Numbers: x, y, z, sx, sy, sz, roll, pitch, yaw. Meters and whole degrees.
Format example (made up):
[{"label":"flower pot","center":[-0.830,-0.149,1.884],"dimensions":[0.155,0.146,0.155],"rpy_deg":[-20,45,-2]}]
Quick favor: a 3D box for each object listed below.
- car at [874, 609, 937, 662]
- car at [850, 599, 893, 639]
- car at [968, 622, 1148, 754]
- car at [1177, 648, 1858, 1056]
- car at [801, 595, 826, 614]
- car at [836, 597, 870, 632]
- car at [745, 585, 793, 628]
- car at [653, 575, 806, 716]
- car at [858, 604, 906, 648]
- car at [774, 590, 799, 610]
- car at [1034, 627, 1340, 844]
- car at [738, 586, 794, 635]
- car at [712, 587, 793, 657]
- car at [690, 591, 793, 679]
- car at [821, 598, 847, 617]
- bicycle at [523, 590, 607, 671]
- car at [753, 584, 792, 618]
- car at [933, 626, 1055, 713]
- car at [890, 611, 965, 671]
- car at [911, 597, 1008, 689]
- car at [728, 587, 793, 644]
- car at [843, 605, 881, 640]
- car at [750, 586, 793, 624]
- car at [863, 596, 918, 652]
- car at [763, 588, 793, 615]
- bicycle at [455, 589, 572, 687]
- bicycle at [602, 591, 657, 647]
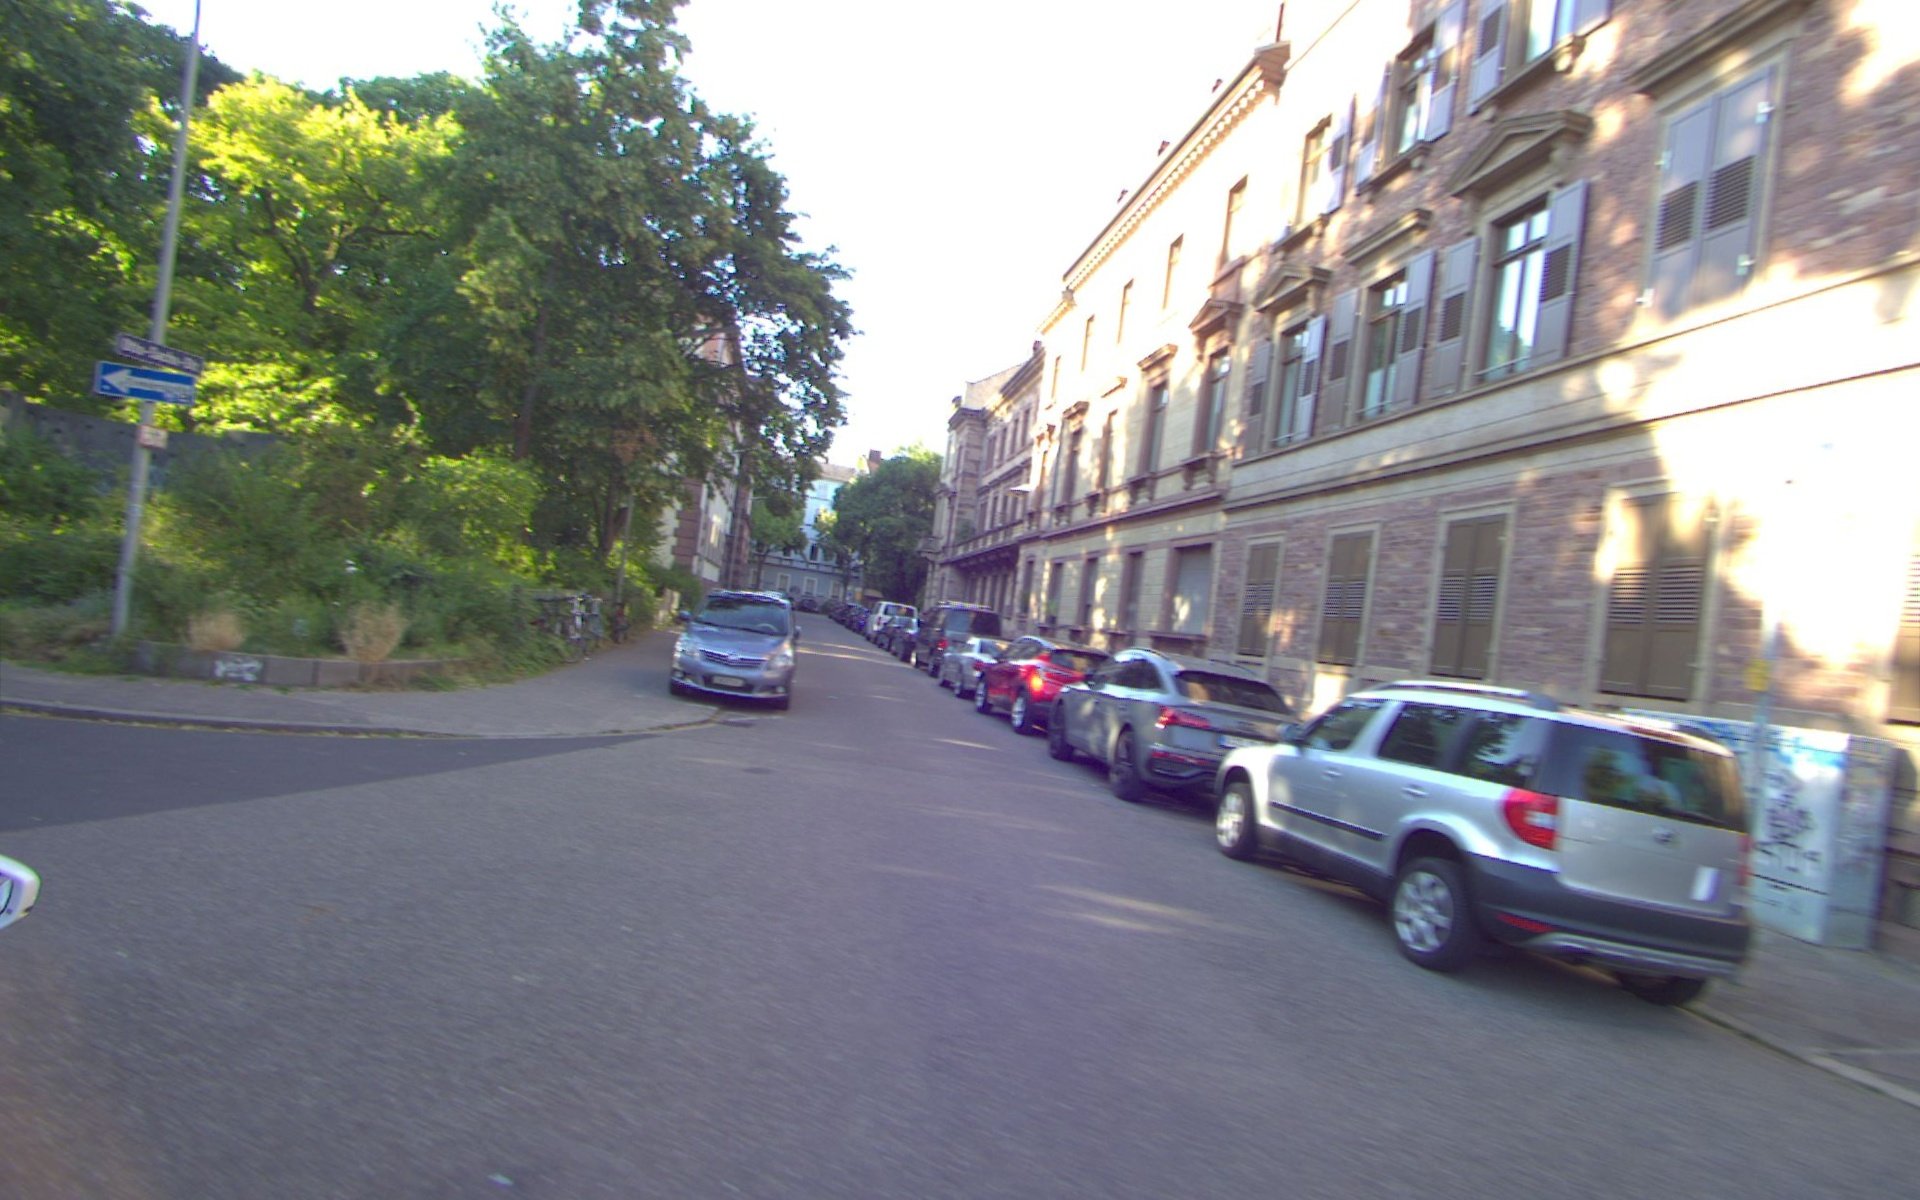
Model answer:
[{"label":"car","center":[-2.181,1.339,39.285],"dimensions":[1.775,1.641,3.949],"rpy_deg":[11,-1,-10]},{"label":"car","center":[-4.980,1.034,56.272],"dimensions":[1.775,1.859,3.949],"rpy_deg":[11,-1,-10]},{"label":"car","center":[1.537,1.415,17.432],"dimensions":[1.776,1.632,3.946],"rpy_deg":[11,-1,-12]},{"label":"car","center":[3.402,1.442,7.280],"dimensions":[1.892,1.674,4.180],"rpy_deg":[11,-2,-10]},{"label":"car","center":[-15.353,0.491,105.284],"dimensions":[1.970,1.702,3.991],"rpy_deg":[9,-3,-15]},{"label":"car","center":[-7.535,0.979,70.509],"dimensions":[1.775,2.039,3.949],"rpy_deg":[10,-1,-10]},{"label":"car","center":[-8.657,0.292,45.857],"dimensions":[1.803,1.517,3.925],"rpy_deg":[11,-2,-9]},{"label":"car","center":[-3.499,0.635,15.956],"dimensions":[1.803,1.632,4.285],"rpy_deg":[11,-2,-9]},{"label":"car","center":[-3.981,1.267,50.748],"dimensions":[1.775,1.777,3.949],"rpy_deg":[11,-1,-10]},{"label":"car","center":[-17.965,-0.010,104.136],"dimensions":[1.970,1.702,3.991],"rpy_deg":[9,-3,-15]},{"label":"car","center":[2.435,1.419,12.196],"dimensions":[1.803,1.742,4.537],"rpy_deg":[11,-2,-9]},{"label":"car","center":[-7.678,0.406,40.109],"dimensions":[1.803,1.517,3.925],"rpy_deg":[11,-2,-9]},{"label":"car","center":[-5.684,0.574,27.939],"dimensions":[1.803,1.494,3.925],"rpy_deg":[11,-2,-9]},{"label":"car","center":[-4.777,0.716,22.455],"dimensions":[1.803,1.463,3.925],"rpy_deg":[11,-2,-9]},{"label":"car","center":[-13.272,0.829,105.971],"dimensions":[1.970,1.702,3.991],"rpy_deg":[9,-3,-15]},{"label":"bicycle","center":[-6.274,0.454,16.106],"dimensions":[0.589,1.114,2.623],"rpy_deg":[8,-1,-9]},{"label":"car","center":[-10.420,0.066,56.156],"dimensions":[1.803,1.517,3.925],"rpy_deg":[11,-2,-9]},{"label":"car","center":[0.647,1.479,22.475],"dimensions":[1.775,1.360,3.949],"rpy_deg":[11,-2,-10]},{"label":"car","center":[-1.157,1.319,33.722],"dimensions":[1.775,1.540,3.949],"rpy_deg":[11,-1,-10]},{"label":"car","center":[-0.105,1.124,28.252],"dimensions":[1.775,2.095,3.949],"rpy_deg":[10,-1,-10]},{"label":"car","center":[-6.761,0.511,34.476],"dimensions":[1.803,1.517,3.925],"rpy_deg":[11,-2,-9]},{"label":"car","center":[-6.026,1.363,61.305],"dimensions":[1.775,1.747,3.949],"rpy_deg":[11,-1,-10]},{"label":"car","center":[-9.365,0.245,50.205],"dimensions":[1.803,1.517,3.925],"rpy_deg":[11,-2,-9]},{"label":"car","center":[-3.157,1.036,44.898],"dimensions":[1.775,2.095,3.949],"rpy_deg":[10,-1,-10]},{"label":"car","center":[-12.872,0.132,71.306],"dimensions":[1.803,1.517,3.925],"rpy_deg":[11,-2,-9]},{"label":"bicycle","center":[-5.877,0.464,13.419],"dimensions":[0.588,1.114,2.624],"rpy_deg":[8,-1,-7]},{"label":"bicycle","center":[-7.365,0.401,22.519],"dimensions":[0.588,1.114,2.624],"rpy_deg":[8,-1,-8]}]
